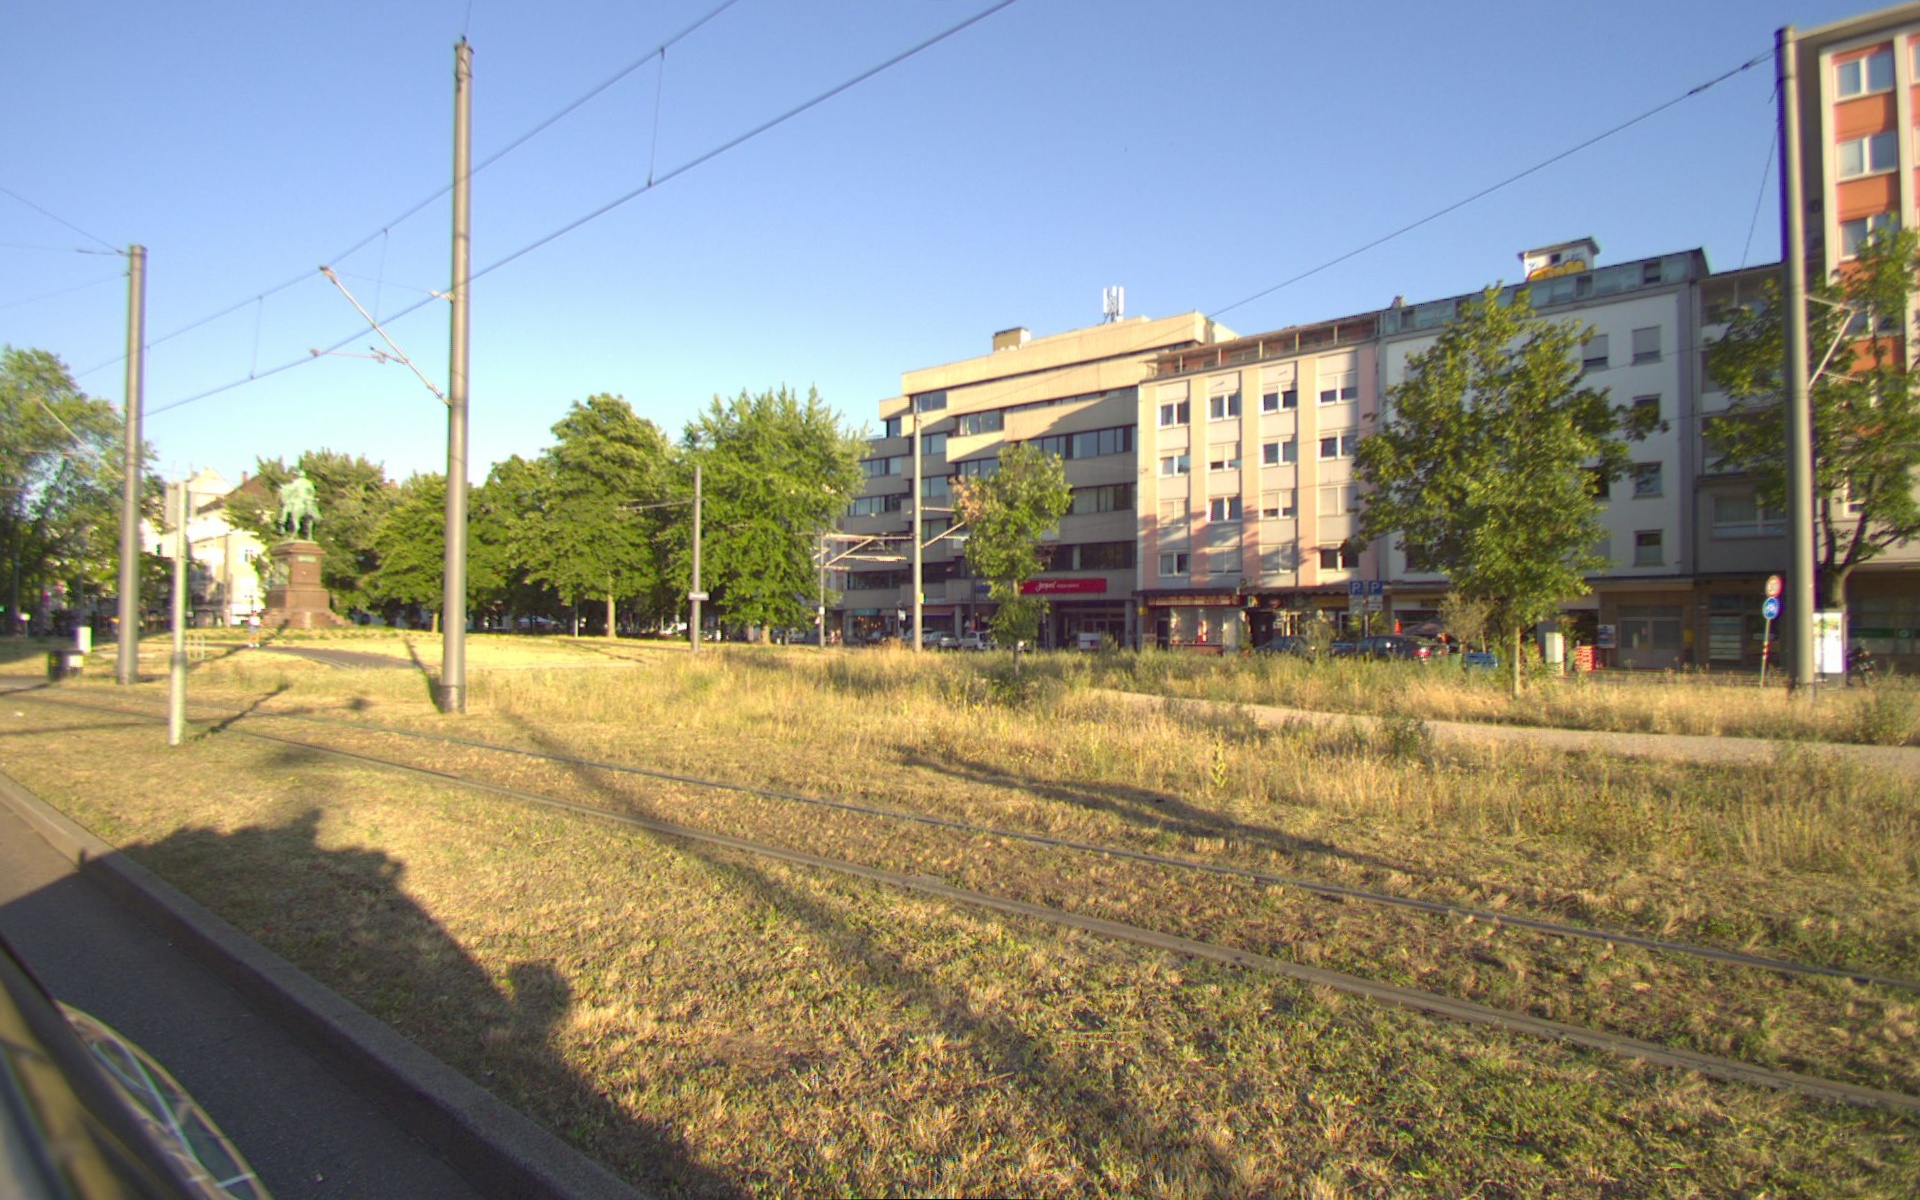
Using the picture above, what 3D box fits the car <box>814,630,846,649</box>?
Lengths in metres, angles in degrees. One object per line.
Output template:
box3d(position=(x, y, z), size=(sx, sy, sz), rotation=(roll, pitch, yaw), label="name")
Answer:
box3d(position=(-13.114, 3.970, 101.744), size=(1.906, 1.808, 4.222), rotation=(1, -3, -27), label="car")

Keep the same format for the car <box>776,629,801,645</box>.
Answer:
box3d(position=(-19.485, 4.238, 115.007), size=(1.729, 1.676, 4.012), rotation=(1, -3, -27), label="car")

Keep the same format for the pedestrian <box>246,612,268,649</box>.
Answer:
box3d(position=(-32.454, 1.404, 46.713), size=(0.831, 1.703, 0.472), rotation=(-1, -3, 26), label="pedestrian")

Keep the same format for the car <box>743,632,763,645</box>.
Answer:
box3d(position=(-26.824, 5.012, 131.371), size=(1.766, 1.592, 4.013), rotation=(0, -3, -23), label="car")

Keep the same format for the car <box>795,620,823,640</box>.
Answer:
box3d(position=(-16.066, 3.224, 107.705), size=(1.729, 1.959, 4.222), rotation=(1, -3, -27), label="car")

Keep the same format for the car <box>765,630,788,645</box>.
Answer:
box3d(position=(-21.784, 4.453, 120.006), size=(1.766, 1.592, 4.013), rotation=(0, -3, -23), label="car")

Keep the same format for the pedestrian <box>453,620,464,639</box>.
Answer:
box3d(position=(-41.347, 2.431, 83.393), size=(0.553, 1.593, 0.611), rotation=(-3, -4, 42), label="pedestrian")

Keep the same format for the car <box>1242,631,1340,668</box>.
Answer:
box3d(position=(14.433, 2.162, 44.369), size=(1.729, 1.538, 4.012), rotation=(1, -3, -27), label="car")

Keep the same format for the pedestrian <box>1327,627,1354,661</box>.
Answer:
box3d(position=(17.632, 2.021, 46.861), size=(0.852, 1.540, 1.107), rotation=(-3, -4, 38), label="pedestrian")

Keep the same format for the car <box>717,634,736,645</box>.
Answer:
box3d(position=(-31.753, 5.426, 137.458), size=(1.681, 1.401, 4.013), rotation=(1, -3, -25), label="car")

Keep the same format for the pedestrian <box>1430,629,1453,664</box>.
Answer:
box3d(position=(21.197, 2.057, 44.571), size=(0.730, 1.540, 0.685), rotation=(-3, -4, 38), label="pedestrian")

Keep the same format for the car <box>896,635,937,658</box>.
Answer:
box3d(position=(-3.571, 3.796, 82.222), size=(1.729, 1.808, 4.222), rotation=(1, -3, -27), label="car")

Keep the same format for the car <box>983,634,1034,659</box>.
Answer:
box3d(position=(3.168, 3.074, 66.948), size=(1.729, 1.564, 4.013), rotation=(0, -3, -24), label="car")

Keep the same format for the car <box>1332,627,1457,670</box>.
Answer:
box3d(position=(16.770, 1.887, 39.278), size=(1.729, 1.538, 4.305), rotation=(1, -3, -27), label="car")

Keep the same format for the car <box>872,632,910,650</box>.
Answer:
box3d(position=(-5.988, 3.579, 87.928), size=(1.833, 1.569, 4.081), rotation=(1, -3, -27), label="car")

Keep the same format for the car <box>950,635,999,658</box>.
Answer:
box3d(position=(0.985, 3.331, 71.554), size=(1.729, 1.564, 4.012), rotation=(1, -3, -27), label="car")

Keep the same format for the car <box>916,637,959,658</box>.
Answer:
box3d(position=(-1.726, 3.634, 76.948), size=(1.729, 1.564, 4.012), rotation=(1, -3, -27), label="car")

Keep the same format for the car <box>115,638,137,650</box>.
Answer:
box3d(position=(-118.285, 6.265, 143.497), size=(3.965, 1.564, 1.778), rotation=(-3, -4, 41), label="car")
